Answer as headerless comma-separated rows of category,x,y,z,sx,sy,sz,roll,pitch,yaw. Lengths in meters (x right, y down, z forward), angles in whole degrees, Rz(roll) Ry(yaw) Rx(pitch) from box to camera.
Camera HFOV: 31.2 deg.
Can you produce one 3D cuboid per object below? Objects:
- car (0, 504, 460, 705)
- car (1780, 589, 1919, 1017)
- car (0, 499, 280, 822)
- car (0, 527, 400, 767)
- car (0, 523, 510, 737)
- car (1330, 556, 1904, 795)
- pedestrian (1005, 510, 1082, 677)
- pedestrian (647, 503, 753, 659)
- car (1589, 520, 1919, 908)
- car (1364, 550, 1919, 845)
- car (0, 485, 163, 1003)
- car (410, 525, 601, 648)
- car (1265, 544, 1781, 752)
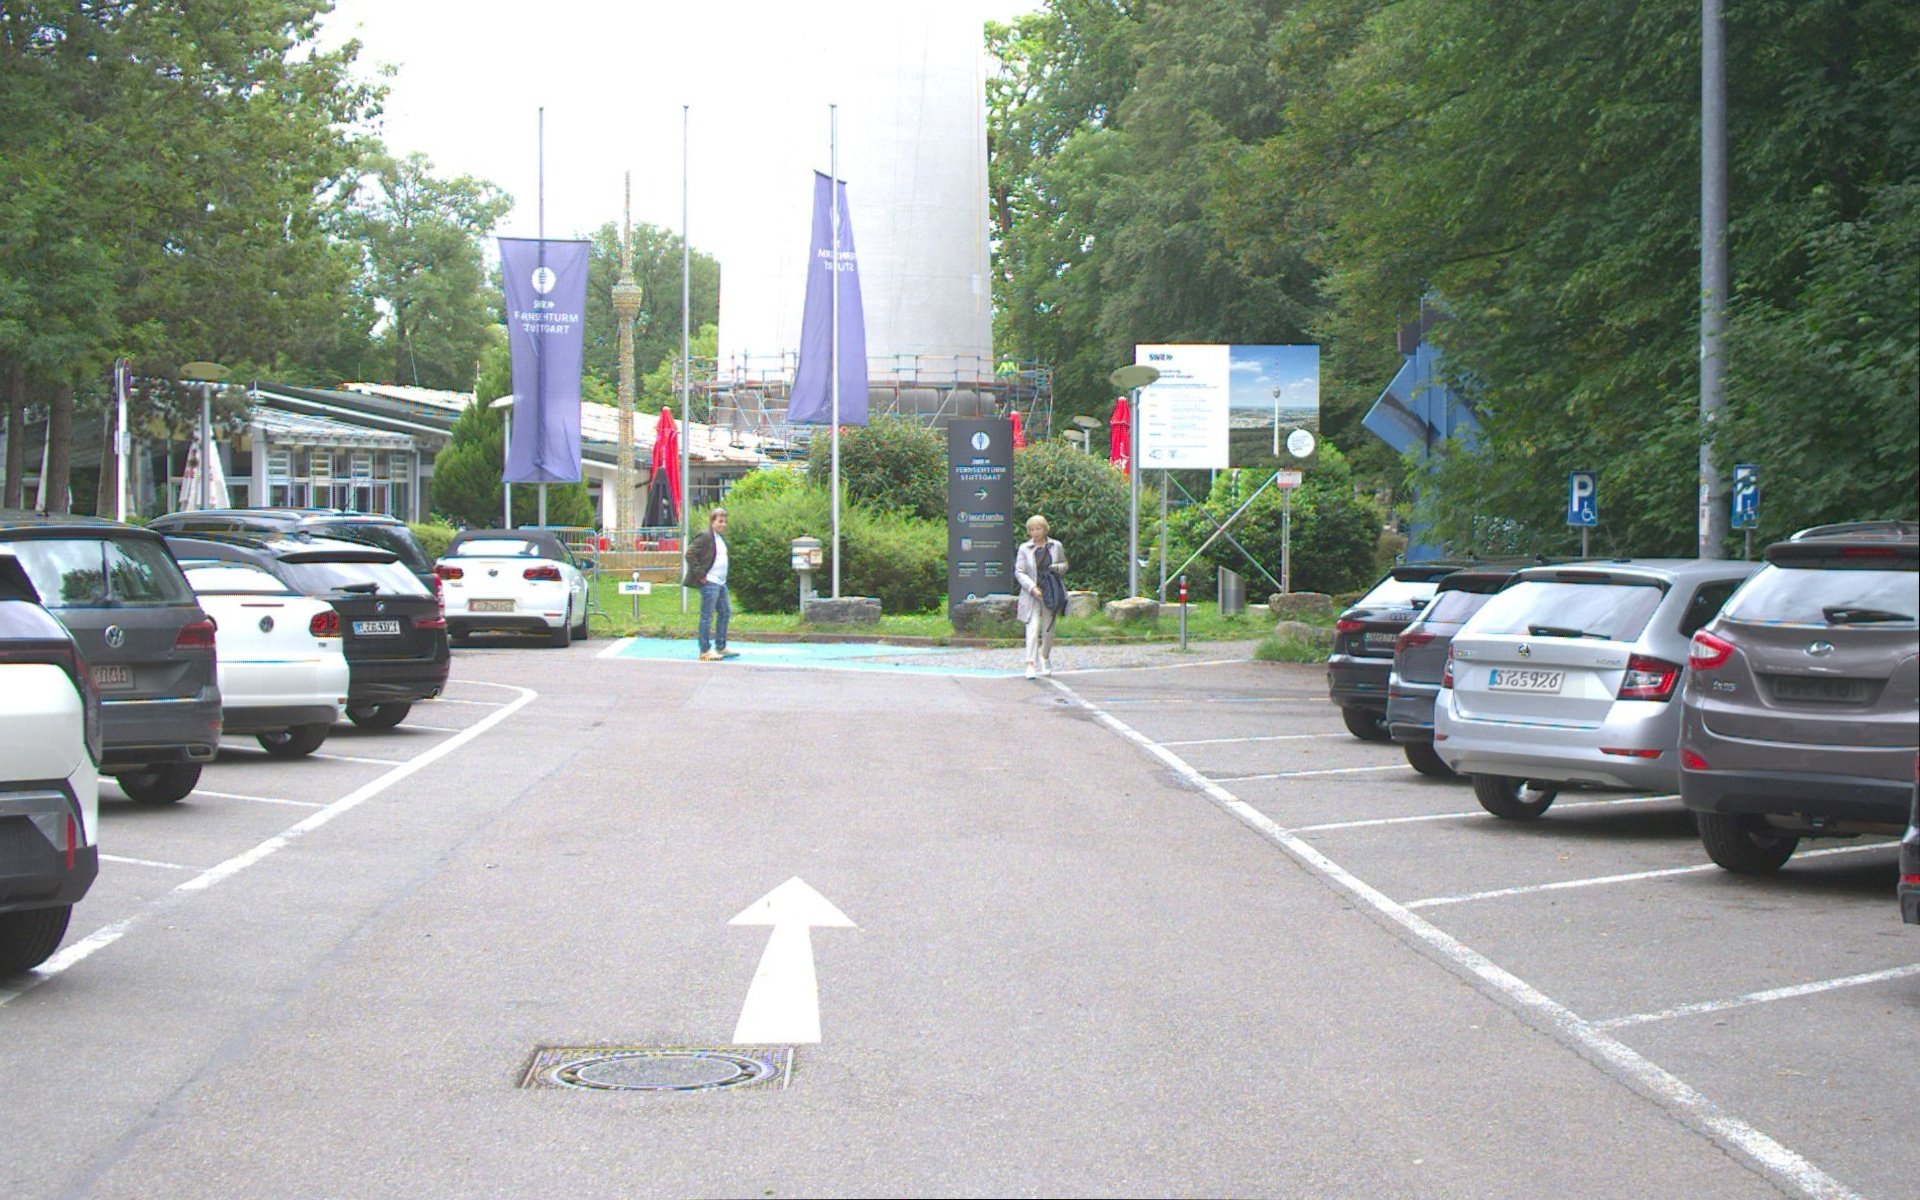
car,-6.491,-0.008,29.924,4.384,1.603,1.825,2,1,42
car,4.885,0.664,12.426,1.964,1.373,4.252,2,2,41
car,-5.686,0.237,18.859,3.974,1.581,1.843,2,2,43
car,-5.626,0.248,22.883,3.843,1.438,1.768,2,2,44
car,-5.486,0.171,25.935,4.275,1.438,1.755,2,1,41
car,4.451,0.441,22.948,1.909,1.417,3.990,2,2,43
pedestrian,0.876,-0.077,36.036,0.762,1.719,0.897,1,1,1
pedestrian,-2.927,-0.218,38.687,0.895,1.719,0.763,2,1,30
car,5.056,0.463,16.568,1.964,1.631,4.252,2,2,43
car,4.305,0.464,19.433,3.989,1.462,1.834,-1,2,-42
car,-4.737,0.394,11.665,4.186,1.591,1.842,2,2,41
car,-5.613,-0.206,42.846,1.893,1.423,4.000,1,1,-1
car,4.451,0.333,26.796,1.898,1.457,4.194,2,2,44
